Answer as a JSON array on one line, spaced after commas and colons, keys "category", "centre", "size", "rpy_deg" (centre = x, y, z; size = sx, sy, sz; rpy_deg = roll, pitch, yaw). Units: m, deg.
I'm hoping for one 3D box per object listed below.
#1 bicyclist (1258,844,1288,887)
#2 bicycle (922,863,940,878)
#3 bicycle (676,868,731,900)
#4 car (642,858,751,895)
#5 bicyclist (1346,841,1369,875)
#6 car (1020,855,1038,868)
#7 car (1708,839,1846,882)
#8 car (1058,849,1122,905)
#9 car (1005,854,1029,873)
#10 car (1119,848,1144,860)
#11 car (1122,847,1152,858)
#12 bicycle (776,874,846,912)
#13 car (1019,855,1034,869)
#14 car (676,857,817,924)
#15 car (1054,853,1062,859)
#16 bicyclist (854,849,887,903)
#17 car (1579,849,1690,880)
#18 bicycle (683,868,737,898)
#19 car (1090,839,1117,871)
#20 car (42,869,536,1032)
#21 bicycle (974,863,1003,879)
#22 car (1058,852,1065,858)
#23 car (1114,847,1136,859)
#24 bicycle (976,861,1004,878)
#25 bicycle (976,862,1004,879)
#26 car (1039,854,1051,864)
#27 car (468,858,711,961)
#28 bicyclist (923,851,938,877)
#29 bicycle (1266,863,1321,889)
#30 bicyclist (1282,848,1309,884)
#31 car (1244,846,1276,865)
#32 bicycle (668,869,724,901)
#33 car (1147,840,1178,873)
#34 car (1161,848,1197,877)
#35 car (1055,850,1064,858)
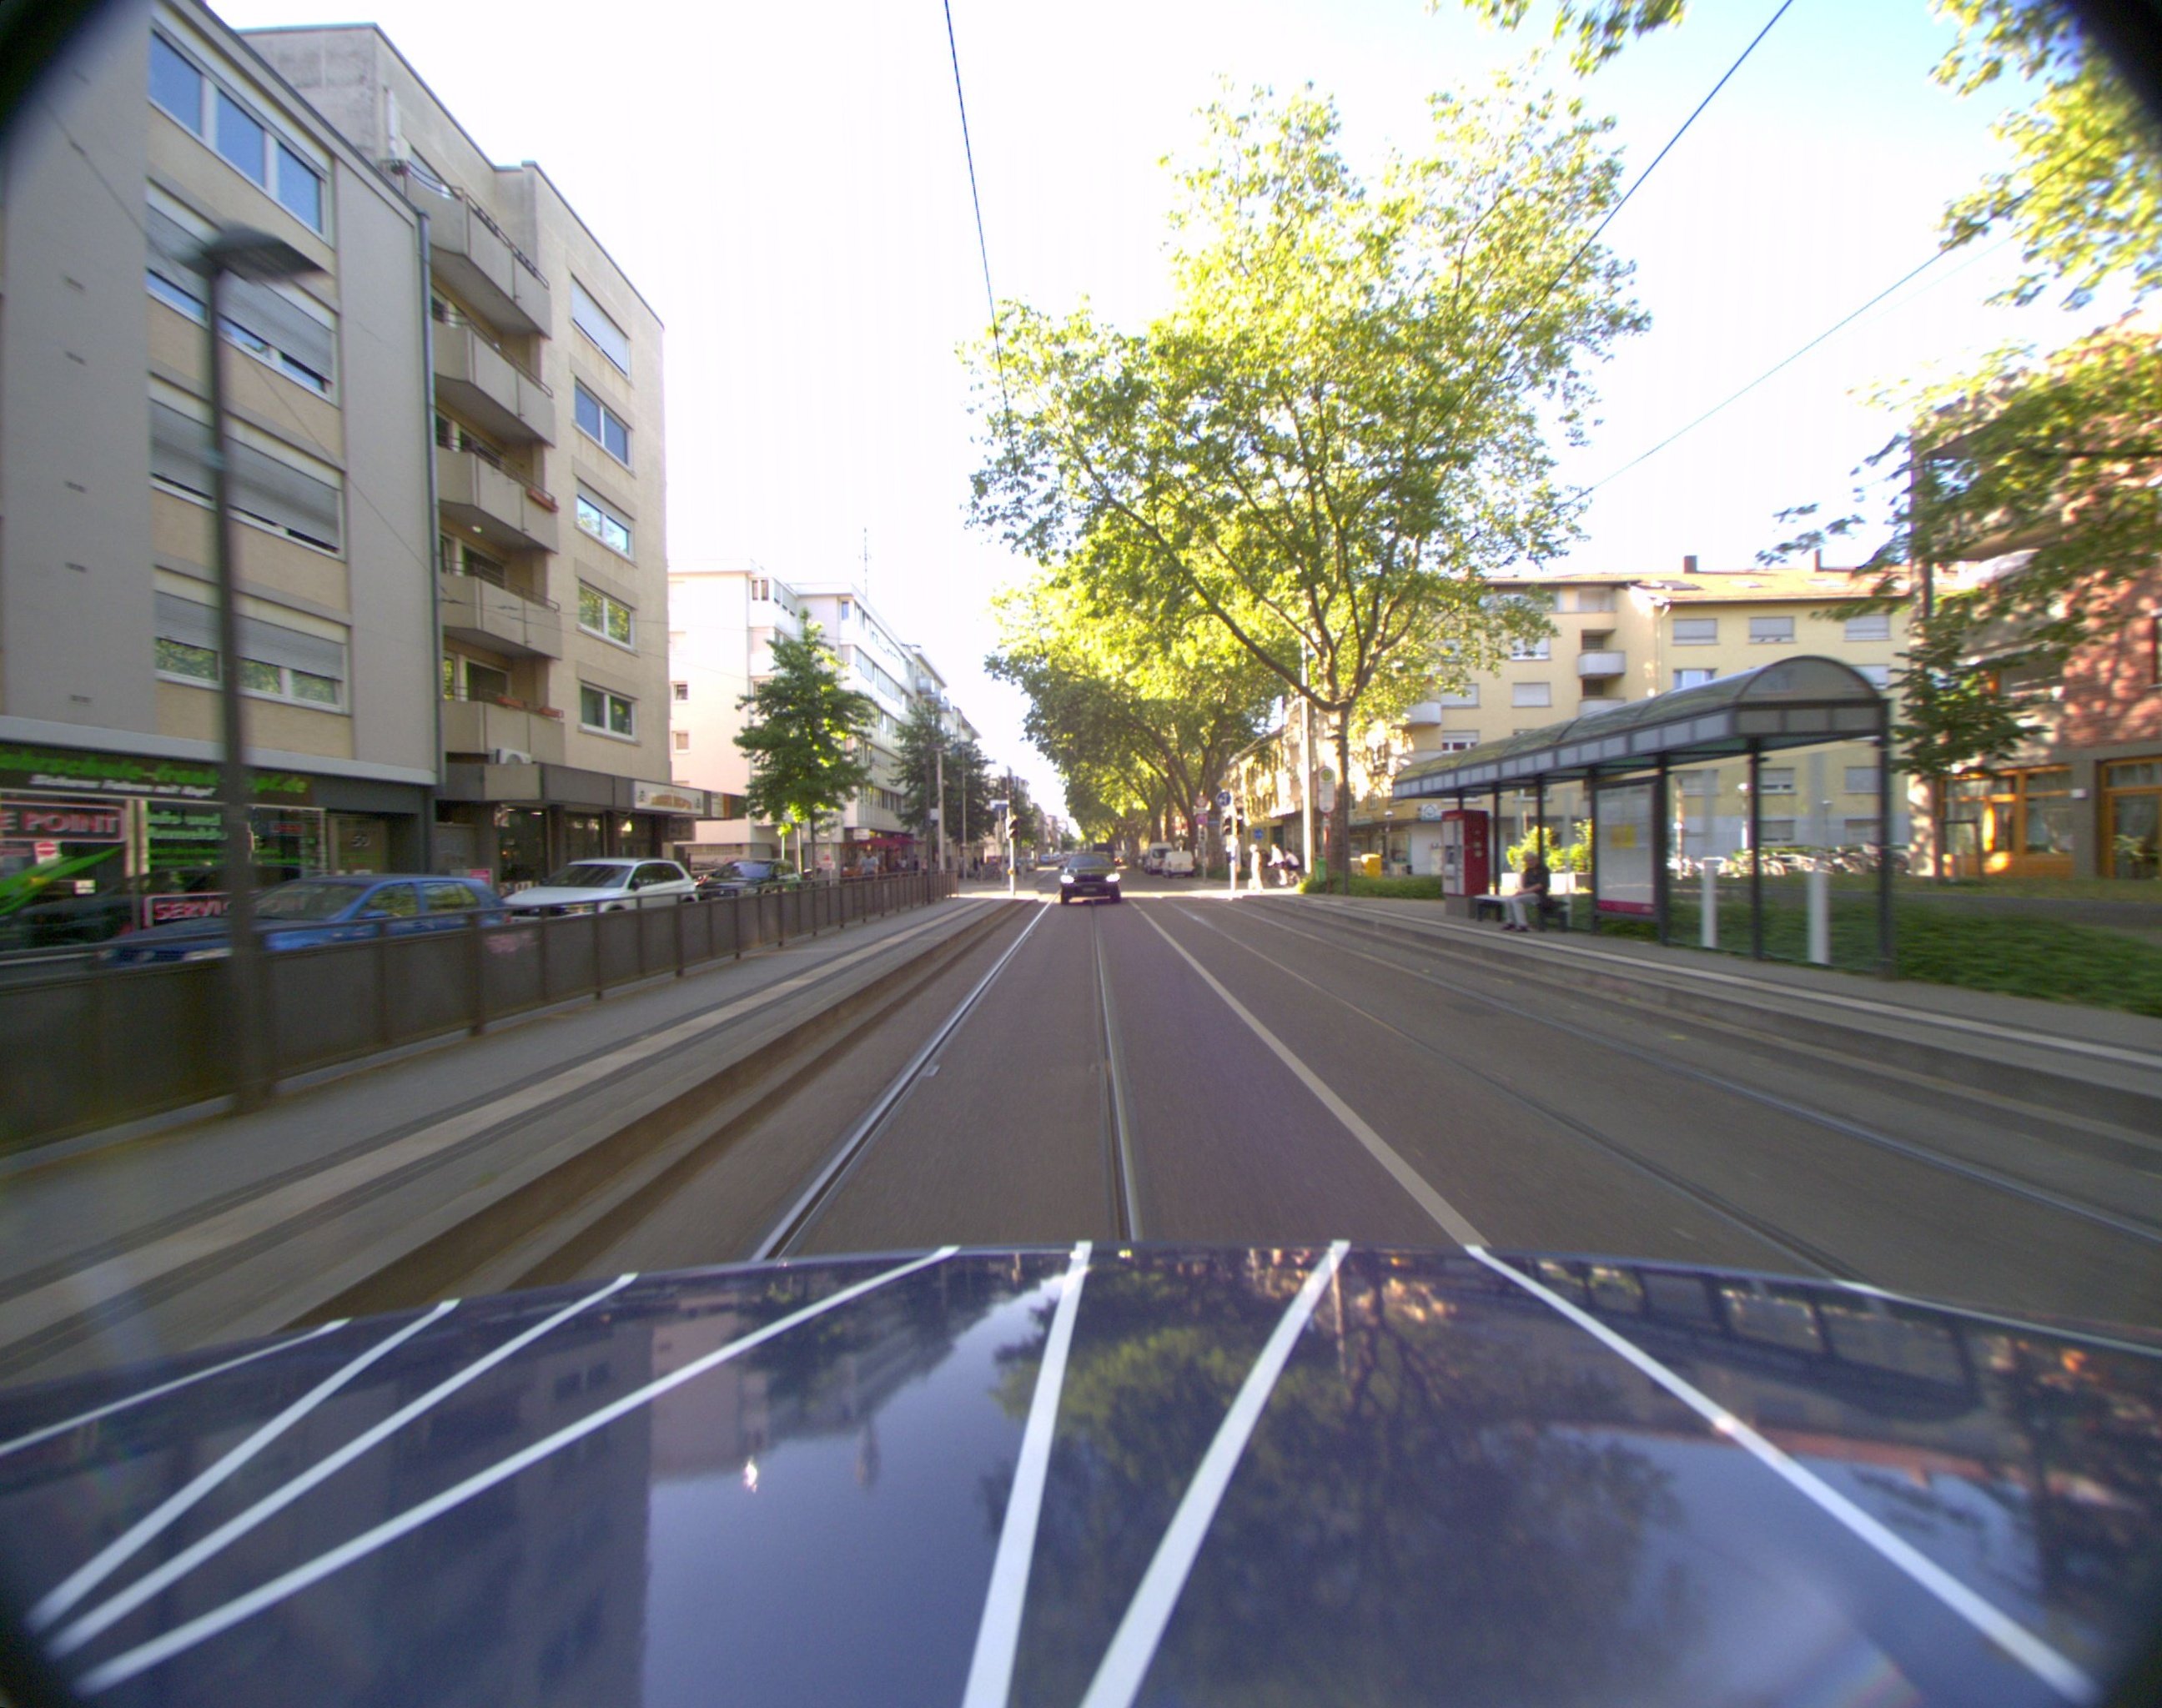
[{"category": "bicyclist", "centre": [8.152, 0.491, 32.214], "size": [0.948, 1.753, 0.786], "rpy_deg": [-1, 1, 36]}, {"category": "bicycle", "centre": [-10.066, 1.098, 50.887], "size": [0.678, 0.957, 2.022], "rpy_deg": [-2, 1, 3]}, {"category": "bicycle", "centre": [-15.470, 1.217, 31.165], "size": [1.919, 1.201, 0.511], "rpy_deg": [-2, 1, -3]}, {"category": "car", "centre": [-18.878, 1.092, 37.457], "size": [4.259, 1.583, 1.966], "rpy_deg": [-2, 2, 0]}, {"category": "bicyclist", "centre": [14.439, 0.218, 39.688], "size": [0.776, 1.740, 0.997], "rpy_deg": [-2, 1, -2]}, {"category": "car", "centre": [-6.093, 0.858, 89.993], "size": [1.791, 1.528, 4.127], "rpy_deg": [1, 0, 0]}, {"category": "car", "centre": [29.048, 0.255, 31.794], "size": [3.997, 1.652, 1.960], "rpy_deg": [-1, 1, 0]}, {"category": "car", "centre": [0.328, 0.712, 26.221], "size": [1.998, 1.723, 4.399], "rpy_deg": [-1, 1, 1]}, {"category": "car", "centre": [-5.886, 0.857, 70.555], "size": [1.763, 1.578, 4.328], "rpy_deg": [2, 1, 0]}, {"category": "car", "centre": [9.861, 0.000, 147.756], "size": [4.661, 2.293, 2.000], "rpy_deg": [-2, 1, 1]}, {"category": "car", "centre": [10.174, -0.274, 138.904], "size": [5.135, 1.984, 1.999], "rpy_deg": [-2, 1, -4]}, {"category": "bicycle", "centre": [-9.133, 1.326, 25.746], "size": [2.130, 1.181, 0.681], "rpy_deg": [-2, 1, 9]}, {"category": "car", "centre": [-6.193, 0.866, 86.000], "size": [1.448, 1.528, 2.881], "rpy_deg": [1, 0, 0]}, {"category": "car", "centre": [-9.446, 0.948, 21.915], "size": [1.998, 1.606, 4.444], "rpy_deg": [-2, 1, 1]}, {"category": "car", "centre": [-5.634, 0.450, 185.569], "size": [1.867, 1.499, 4.000], "rpy_deg": [-2, 1, 1]}, {"category": "bicyclist", "centre": [-7.383, 0.764, 26.668], "size": [0.769, 1.821, 1.099], "rpy_deg": [-2, 1, 1]}, {"category": "car", "centre": [27.315, 0.496, 37.592], "size": [3.997, 1.368, 2.000], "rpy_deg": [-2, 1, 0]}, {"category": "bicycle", "centre": [-15.506, 1.222, 31.778], "size": [1.919, 1.200, 0.511], "rpy_deg": [-1, -1, -3]}, {"category": "car", "centre": [2.000, 0.039, 68.668], "size": [2.119, 2.722, 6.113], "rpy_deg": [0, 1, -1]}, {"category": "car", "centre": [-9.403, 1.005, 9.687], "size": [1.748, 1.432, 4.246], "rpy_deg": [-2, 1, 1]}, {"category": "bicycle", "centre": [-6.138, 1.136, 50.443], "size": [1.820, 0.988, 0.481], "rpy_deg": [-2, 1, -2]}, {"category": "car", "centre": [-5.519, 0.228, 214.874], "size": [1.867, 1.499, 4.000], "rpy_deg": [-2, 1, 1]}, {"category": "car", "centre": [9.414, -0.221, 162.255], "size": [4.661, 2.518, 2.000], "rpy_deg": [-2, 1, 1]}, {"category": "bicycle", "centre": [-6.232, 1.031, 51.945], "size": [1.821, 1.094, 0.481], "rpy_deg": [-2, 1, -8]}, {"category": "bicycle", "centre": [-6.112, 1.092, 51.213], "size": [1.821, 1.094, 0.497], "rpy_deg": [-2, 1, -8]}, {"category": "car", "centre": [-6.778, 0.960, 144.765], "size": [1.958, 1.914, 4.000], "rpy_deg": [-2, 1, 1]}, {"category": "car", "centre": [-9.305, 0.936, 14.929], "size": [1.804, 1.596, 4.414], "rpy_deg": [-2, 1, 1]}, {"category": "bicyclist", "centre": [-10.073, 0.681, 50.797], "size": [0.678, 1.707, 0.965], "rpy_deg": [-2, 1, 3]}, {"category": "bicycle", "centre": [9.356, 0.973, 33.539], "size": [2.208, 1.064, 0.683], "rpy_deg": [-1, 1, 30]}, {"category": "bicyclist", "centre": [9.450, 0.521, 33.466], "size": [0.991, 1.539, 0.683], "rpy_deg": [-1, 1, 30]}, {"category": "car", "centre": [17.320, 0.133, 73.718], "size": [1.998, 1.723, 4.897], "rpy_deg": [-2, 1, 1]}, {"category": "bicycle", "centre": [-15.441, 1.229, 30.502], "size": [1.919, 1.201, 0.511], "rpy_deg": [-2, 2, -3]}, {"category": "car", "centre": [6.750, 0.173, 63.560], "size": [2.113, 2.562, 6.024], "rpy_deg": [-2, 1, 3]}, {"category": "car", "centre": [6.747, 0.529, 52.727], "size": [1.768, 1.840, 4.317], "rpy_deg": [-2, 1, -1]}, {"category": "car", "centre": [-5.528, -0.005, 195.010], "size": [1.991, 2.085, 4.470], "rpy_deg": [-2, 1, 1]}]
